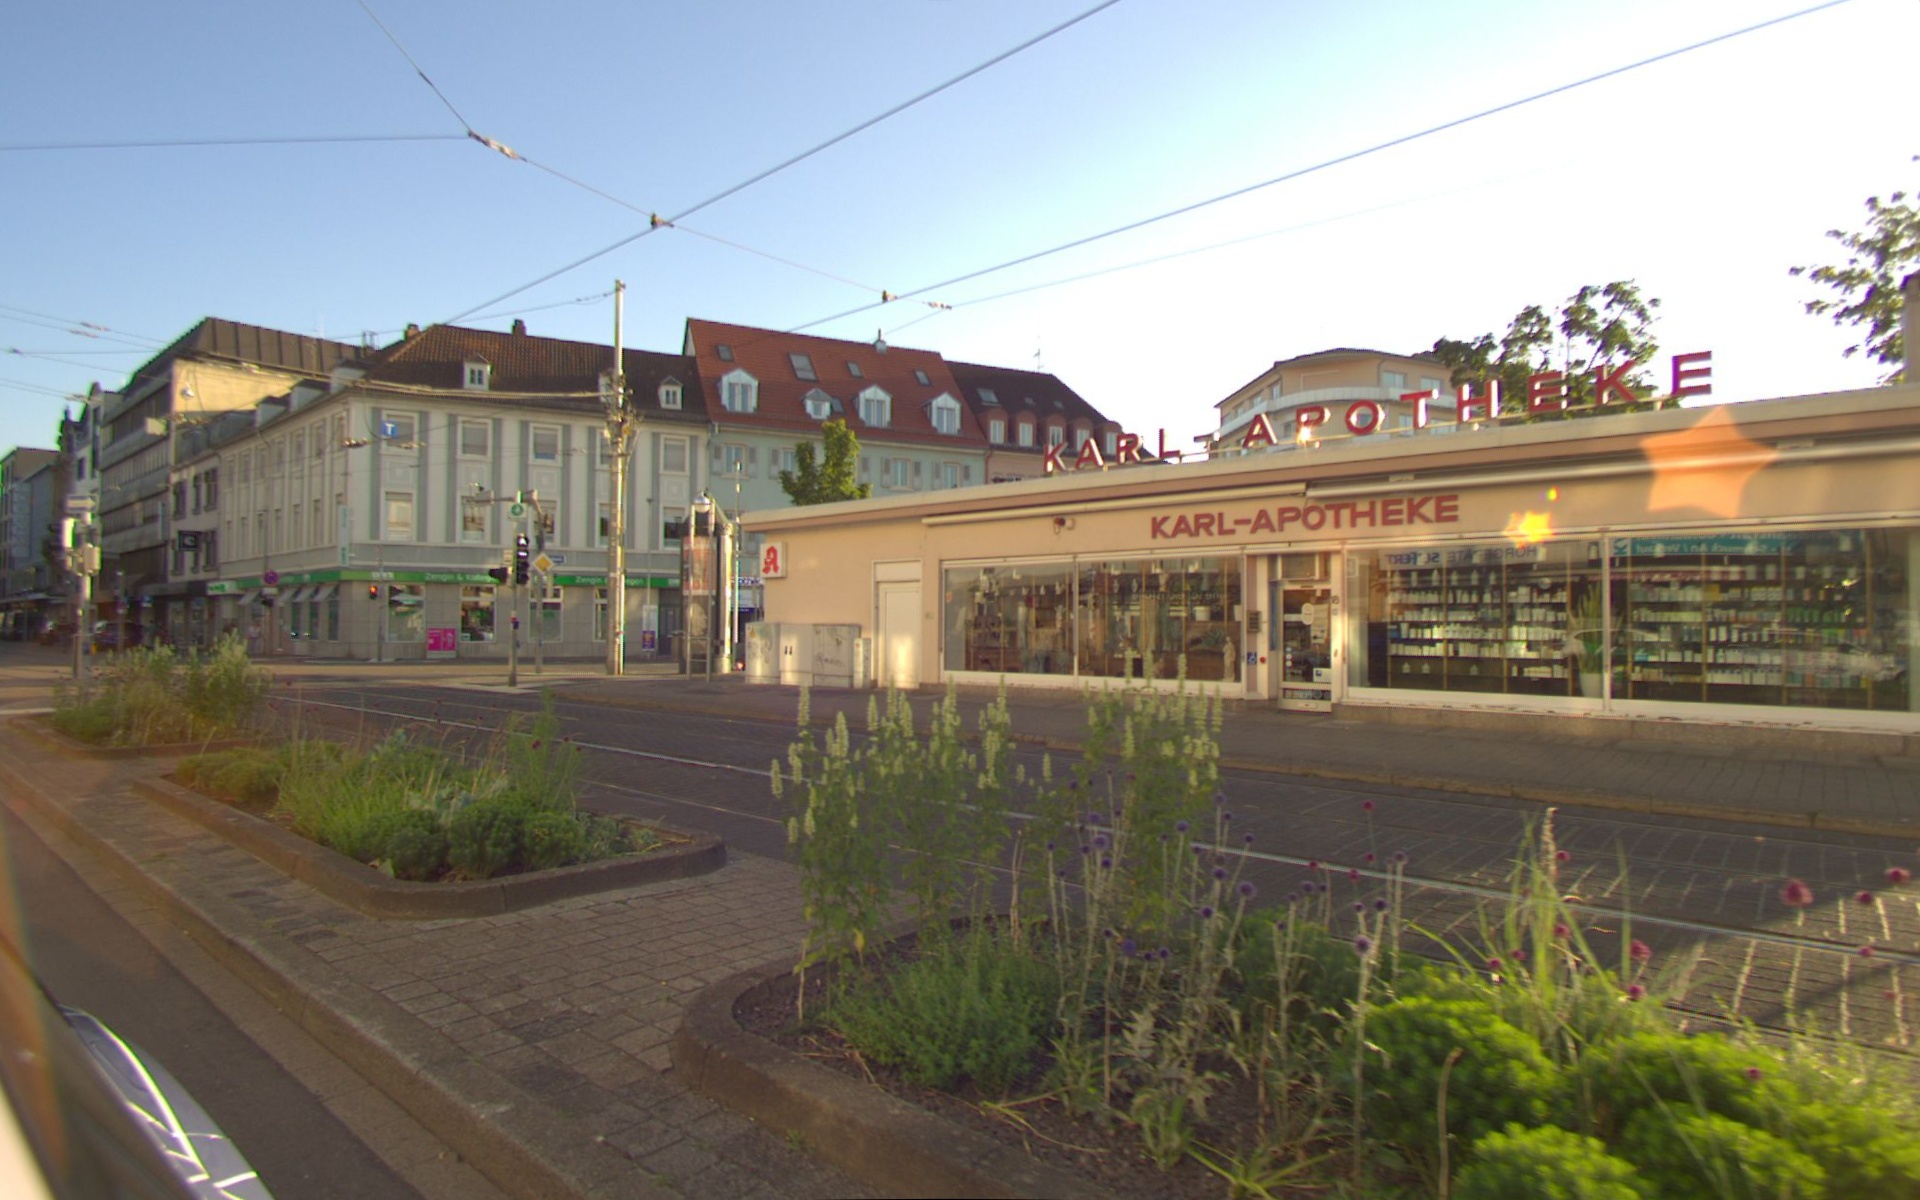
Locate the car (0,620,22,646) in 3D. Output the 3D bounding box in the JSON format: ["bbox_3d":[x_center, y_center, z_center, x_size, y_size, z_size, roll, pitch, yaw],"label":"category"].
[{"bbox_3d":[-80.062,2.728,84.646,3.999,2.029,1.972,1,-1,41],"label":"car"}]

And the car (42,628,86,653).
[{"bbox_3d":[-62.467,2.808,70.527,3.998,1.569,1.796,1,-1,41],"label":"car"}]

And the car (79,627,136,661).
[{"bbox_3d":[-49.307,2.515,58.510,4.126,1.809,1.890,-1,-1,40],"label":"car"}]

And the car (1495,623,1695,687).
[{"bbox_3d":[18.231,1.528,29.204,4.679,1.577,1.779,1,-1,42],"label":"car"}]

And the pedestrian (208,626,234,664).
[{"bbox_3d":[-33.926,2.060,46.448,0.813,1.741,0.817,-2,-1,41],"label":"pedestrian"}]

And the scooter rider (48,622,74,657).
[{"bbox_3d":[-47.149,2.074,53.088,0.800,1.821,0.790,2,-2,-26],"label":"scooter rider"}]

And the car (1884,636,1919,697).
[{"bbox_3d":[24.533,1.615,23.556,4.241,1.419,1.640,1,-1,35],"label":"car"}]

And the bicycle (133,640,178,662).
[{"bbox_3d":[-39.830,2.524,50.120,1.715,1.067,0.499,2,-4,-41],"label":"bicycle"}]

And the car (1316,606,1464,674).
[{"bbox_3d":[13.942,1.257,32.880,3.998,2.029,1.973,1,-1,41],"label":"car"}]

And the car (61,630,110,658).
[{"bbox_3d":[-53.962,2.707,62.445,3.997,1.636,1.679,-2,-2,40],"label":"car"}]

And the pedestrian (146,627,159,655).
[{"bbox_3d":[-51.363,2.608,64.388,0.600,1.747,0.509,1,-1,41],"label":"pedestrian"}]

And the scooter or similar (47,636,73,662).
[{"bbox_3d":[-47.142,2.557,53.016,0.536,1.361,1.674,1,-2,-25],"label":"scooter or similar"}]

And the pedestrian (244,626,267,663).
[{"bbox_3d":[-32.604,2.055,46.838,0.814,1.653,0.816,0,-2,-33],"label":"pedestrian"}]

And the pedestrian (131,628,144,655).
[{"bbox_3d":[-51.876,2.607,63.809,0.583,1.697,0.503,0,-1,40],"label":"pedestrian"}]
